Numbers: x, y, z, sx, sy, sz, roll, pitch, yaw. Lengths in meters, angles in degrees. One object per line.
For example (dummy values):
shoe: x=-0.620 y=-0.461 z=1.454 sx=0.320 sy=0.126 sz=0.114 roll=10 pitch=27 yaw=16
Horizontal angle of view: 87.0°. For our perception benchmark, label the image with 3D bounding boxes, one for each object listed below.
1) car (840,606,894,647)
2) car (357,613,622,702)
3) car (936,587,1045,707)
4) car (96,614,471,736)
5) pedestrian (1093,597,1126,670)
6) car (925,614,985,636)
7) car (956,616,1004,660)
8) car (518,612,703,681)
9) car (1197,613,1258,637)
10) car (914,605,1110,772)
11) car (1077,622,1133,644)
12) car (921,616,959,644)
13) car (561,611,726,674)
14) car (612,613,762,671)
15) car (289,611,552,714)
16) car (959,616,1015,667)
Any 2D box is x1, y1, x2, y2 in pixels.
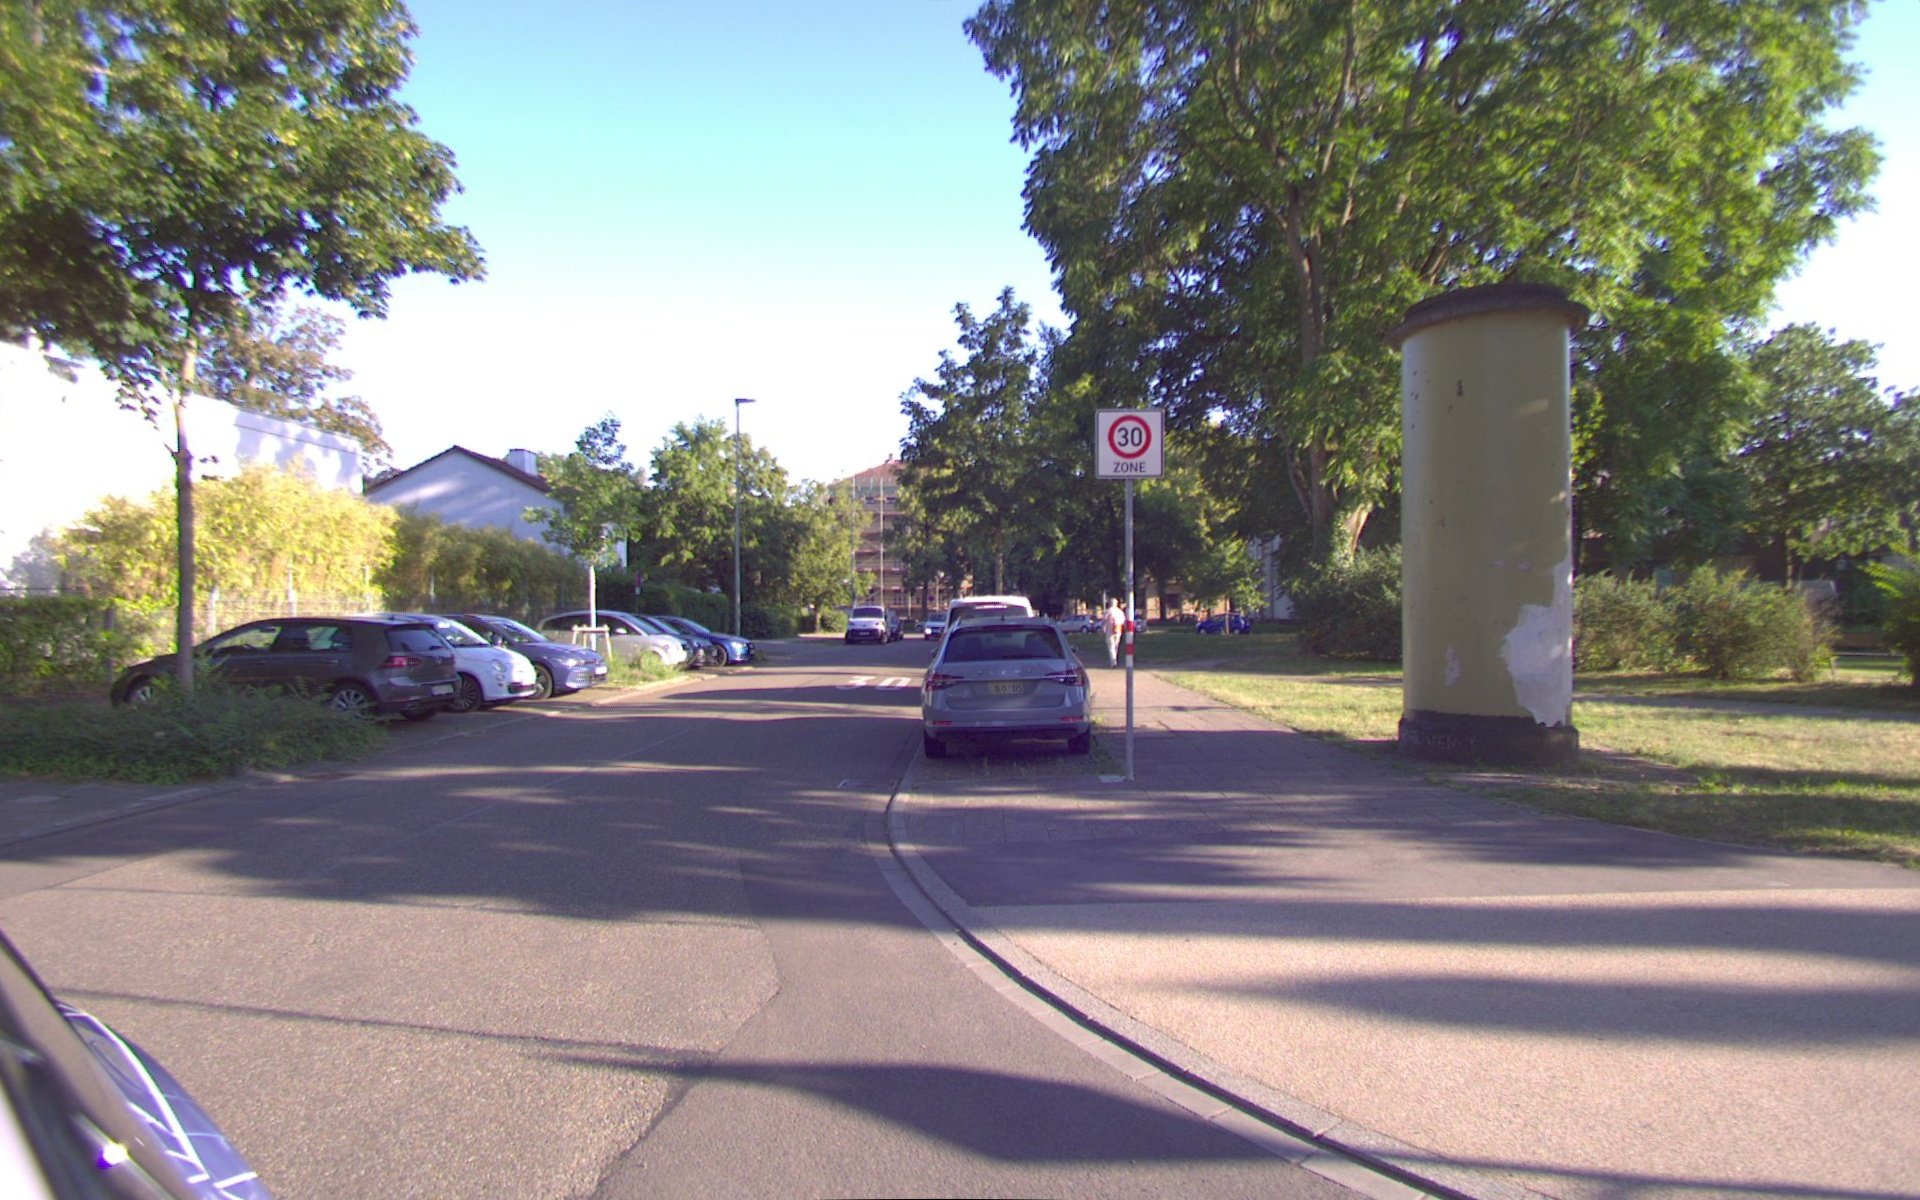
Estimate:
car: x=-4.601 y=1.285 z=50.710 sx=2.034 sy=1.945 sz=4.444 roll=-1 pitch=-1 yaw=3
car: x=-8.559 y=1.019 z=18.624 sx=4.047 sy=1.468 sz=1.809 roll=1 pitch=-1 yaw=4
car: x=0.566 y=0.800 z=18.605 sx=1.739 sy=1.931 sz=4.235 roll=-1 pitch=-1 yaw=2
car: x=-8.885 y=0.952 z=13.500 sx=3.945 sy=1.527 sz=1.644 roll=0 pitch=-1 yaw=2
pedestrian: x=3.654 y=0.812 z=24.726 sx=0.707 sy=1.750 sz=0.747 roll=0 pitch=-1 yaw=2
car: x=-0.389 y=2.058 z=83.257 sx=4.507 sy=1.697 sz=2.256 roll=-1 pitch=-4 yaw=38
car: x=0.785 y=1.380 z=37.716 sx=1.695 sy=1.520 sz=3.675 roll=-1 pitch=-1 yaw=3
car: x=-8.406 y=1.098 z=24.582 sx=3.869 sy=1.549 sz=1.745 roll=1 pitch=-1 yaw=0
car: x=17.600 y=1.636 z=66.613 sx=3.569 sy=1.509 sz=1.654 roll=0 pitch=0 yaw=37
car: x=0.575 y=0.886 z=12.062 sx=1.843 sy=1.570 sz=4.834 roll=-1 pitch=-1 yaw=2
car: x=10.318 y=2.361 z=72.044 sx=3.569 sy=1.509 sz=1.668 roll=-1 pitch=-1 yaw=37
car: x=-1.127 y=1.677 z=58.121 sx=1.760 sy=1.547 sz=4.340 roll=-1 pitch=-1 yaw=5
car: x=-8.415 y=1.117 z=27.123 sx=3.869 sy=1.549 sz=1.745 roll=1 pitch=-1 yaw=0
car: x=-7.871 y=1.197 z=29.395 sx=3.869 sy=1.549 sz=1.745 roll=1 pitch=-1 yaw=0
car: x=-8.505 y=0.960 z=16.141 sx=3.309 sy=1.502 sz=1.637 roll=1 pitch=-1 yaw=1
car: x=0.817 y=1.293 z=32.409 sx=1.693 sy=1.520 sz=3.309 roll=-1 pitch=-1 yaw=0
